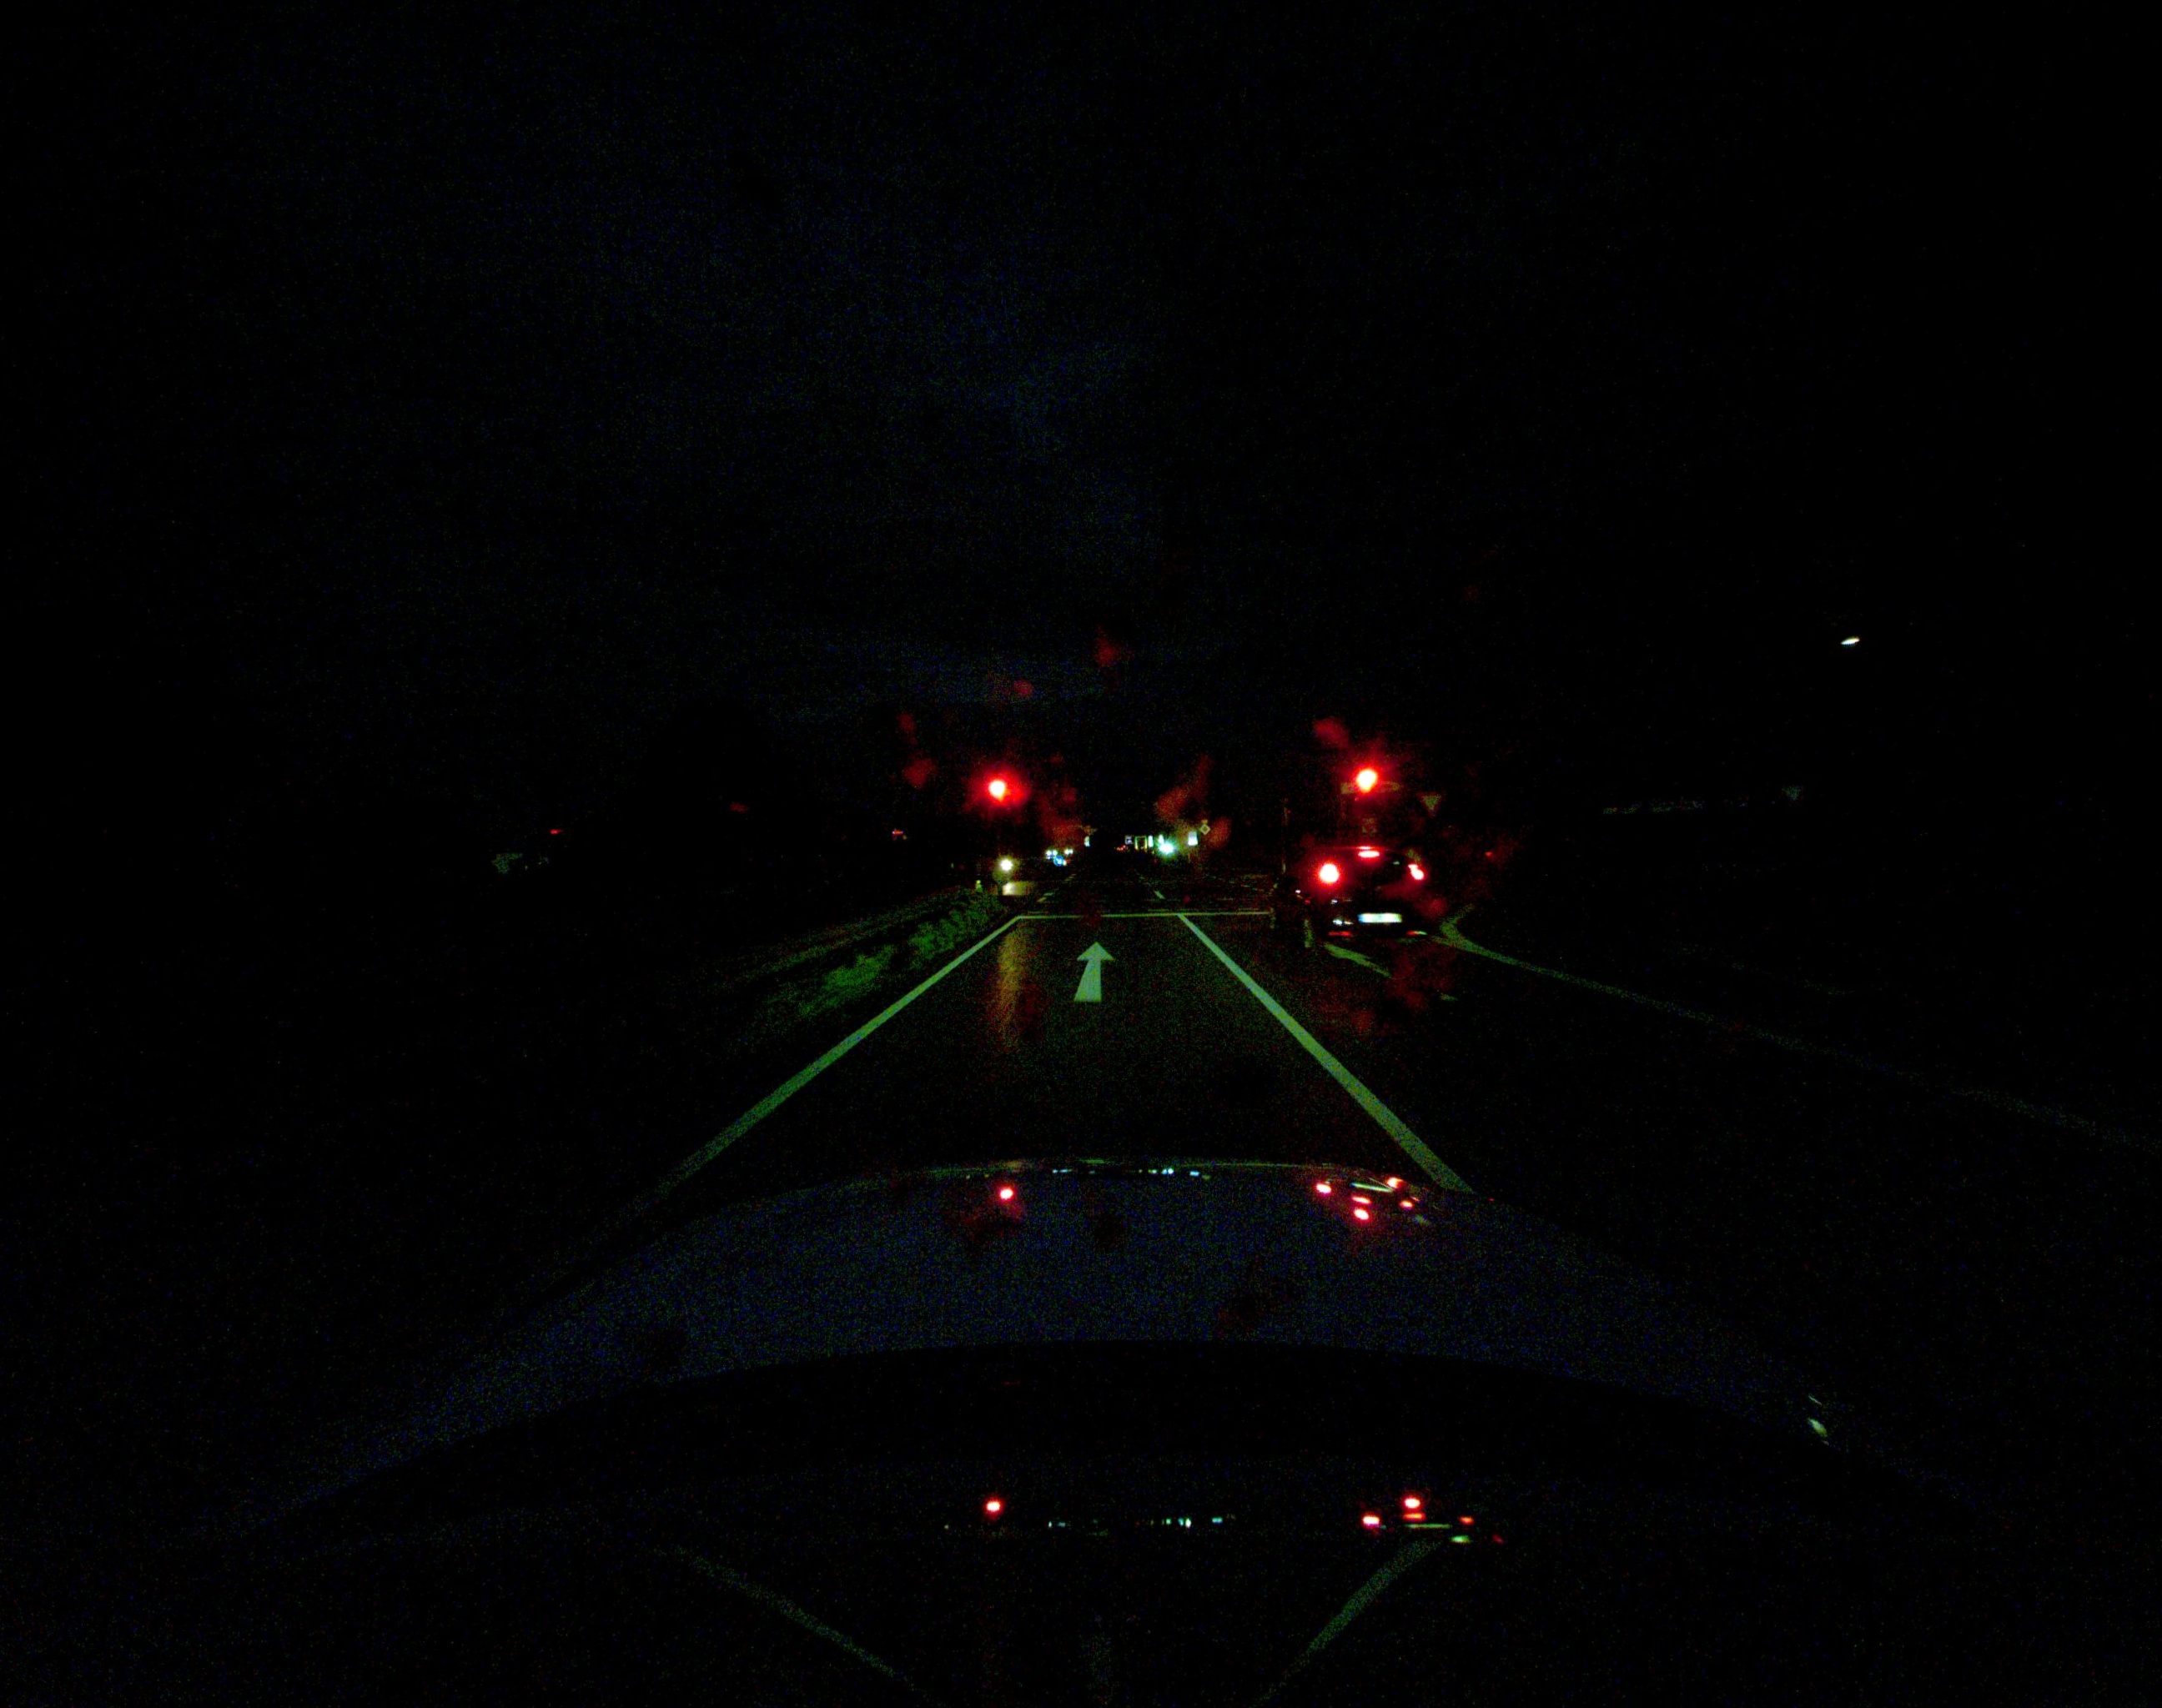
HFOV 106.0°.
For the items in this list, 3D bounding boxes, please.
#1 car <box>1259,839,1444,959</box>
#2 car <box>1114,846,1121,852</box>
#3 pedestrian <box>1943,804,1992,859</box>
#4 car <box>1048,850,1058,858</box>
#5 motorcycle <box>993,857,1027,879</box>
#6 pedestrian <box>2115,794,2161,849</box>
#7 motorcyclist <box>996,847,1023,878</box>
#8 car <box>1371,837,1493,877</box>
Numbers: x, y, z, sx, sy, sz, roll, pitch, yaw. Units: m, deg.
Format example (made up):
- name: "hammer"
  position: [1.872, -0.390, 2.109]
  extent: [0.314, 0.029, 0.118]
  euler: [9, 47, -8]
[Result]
- name: "car"
  position: [3.908, 0.566, 12.491]
  extent: [1.663, 1.520, 4.109]
  euler: [-1, 0, 3]
- name: "car"
  position: [11.682, -1.568, 260.594]
  extent: [2.266, 1.632, 4.001]
  euler: [-2, 0, 1]
- name: "pedestrian"
  position: [31.038, -0.787, 28.528]
  extent: [0.732, 1.835, 0.870]
  euler: [-3, -2, -25]
- name: "car"
  position: [-6.205, -0.042, 179.534]
  extent: [1.986, 1.519, 4.299]
  euler: [-2, 0, 2]
- name: "motorcycle"
  position: [-3.750, 0.732, 42.834]
  extent: [0.984, 1.098, 2.488]
  euler: [-3, 1, -25]
- name: "pedestrian"
  position: [37.616, -1.163, 28.956]
  extent: [0.661, 1.899, 0.870]
  euler: [-3, 0, -25]
- name: "motorcyclist"
  position: [-3.760, 0.437, 42.791]
  extent: [1.143, 1.584, 0.965]
  euler: [-3, 0, -25]
- name: "car"
  position: [15.587, 0.120, 36.374]
  extent: [4.583, 1.520, 2.001]
  euler: [-3, 0, 2]
